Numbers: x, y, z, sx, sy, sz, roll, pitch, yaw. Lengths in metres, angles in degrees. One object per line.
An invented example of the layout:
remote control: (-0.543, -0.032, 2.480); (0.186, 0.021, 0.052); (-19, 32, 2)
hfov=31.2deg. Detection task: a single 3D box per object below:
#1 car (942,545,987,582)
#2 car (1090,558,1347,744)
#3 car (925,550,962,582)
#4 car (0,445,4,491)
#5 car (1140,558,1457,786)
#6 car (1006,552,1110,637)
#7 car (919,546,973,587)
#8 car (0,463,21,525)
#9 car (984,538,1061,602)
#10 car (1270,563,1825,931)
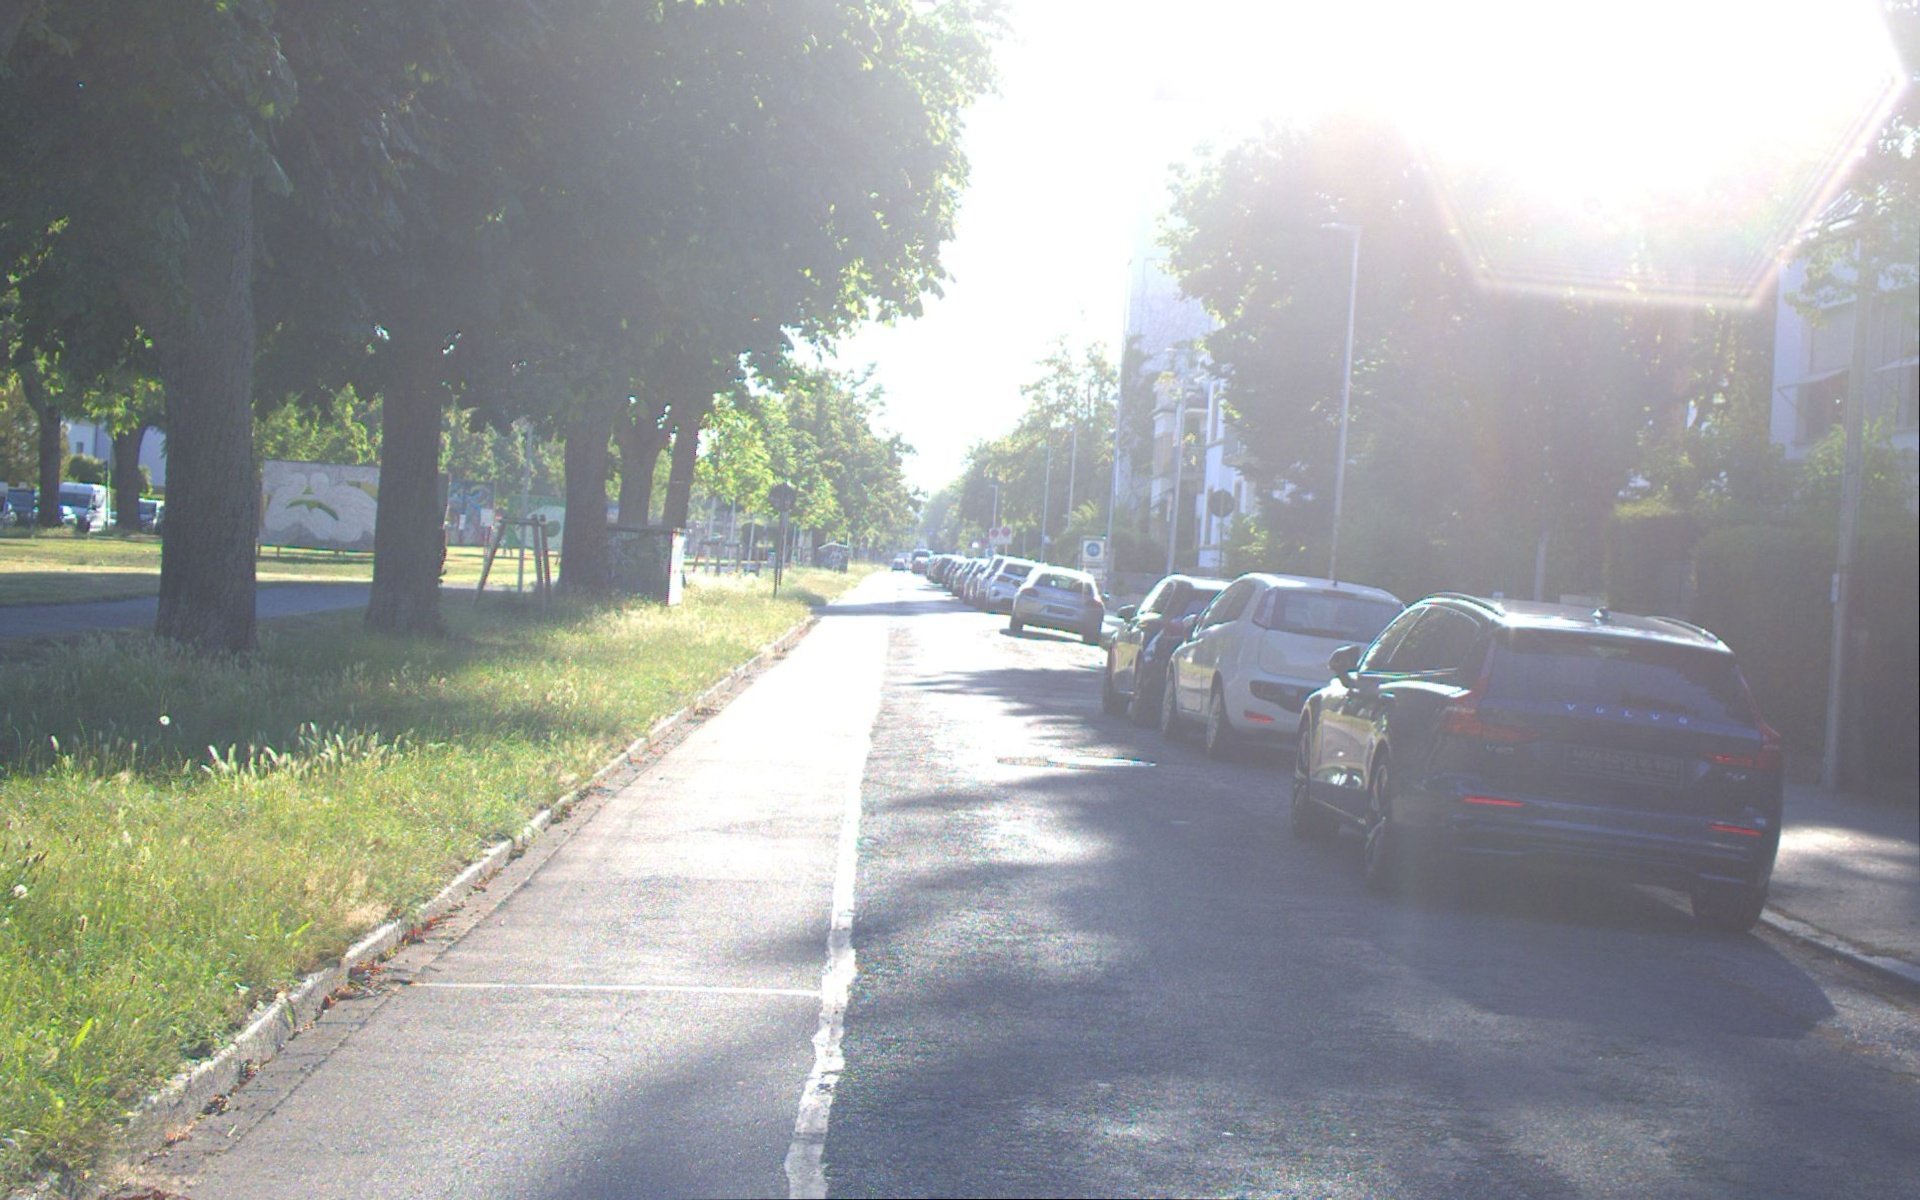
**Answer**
car: (0.220, -1.704, 160.671); (1.993, 1.624, 4.000); (3, 1, 0)
car: (2.393, 0.429, 32.842); (1.748, 1.472, 4.289); (5, 1, -4)
car: (-0.920, -1.950, 195.226); (1.980, 1.677, 4.000); (3, 1, 0)
car: (-43.395, -5.768, 150.177); (1.993, 2.006, 4.485); (-2, 2, -1)
car: (2.651, 0.519, 27.833); (1.691, 1.478, 3.930); (7, 1, -5)
car: (1.963, -0.142, 70.051); (1.757, 1.415, 4.072); (10, 1, -1)
car: (-0.519, -1.313, 134.475); (1.993, 1.459, 4.000); (3, 1, 0)
car: (-36.226, -3.923, 125.171); (2.534, 2.228, 5.459); (3, 1, -1)
car: (1.670, -0.833, 93.246); (1.758, 1.599, 4.359); (3, 1, -2)
car: (2.786, 0.623, 17.407); (1.793, 1.487, 4.675); (4, 0, -2)
